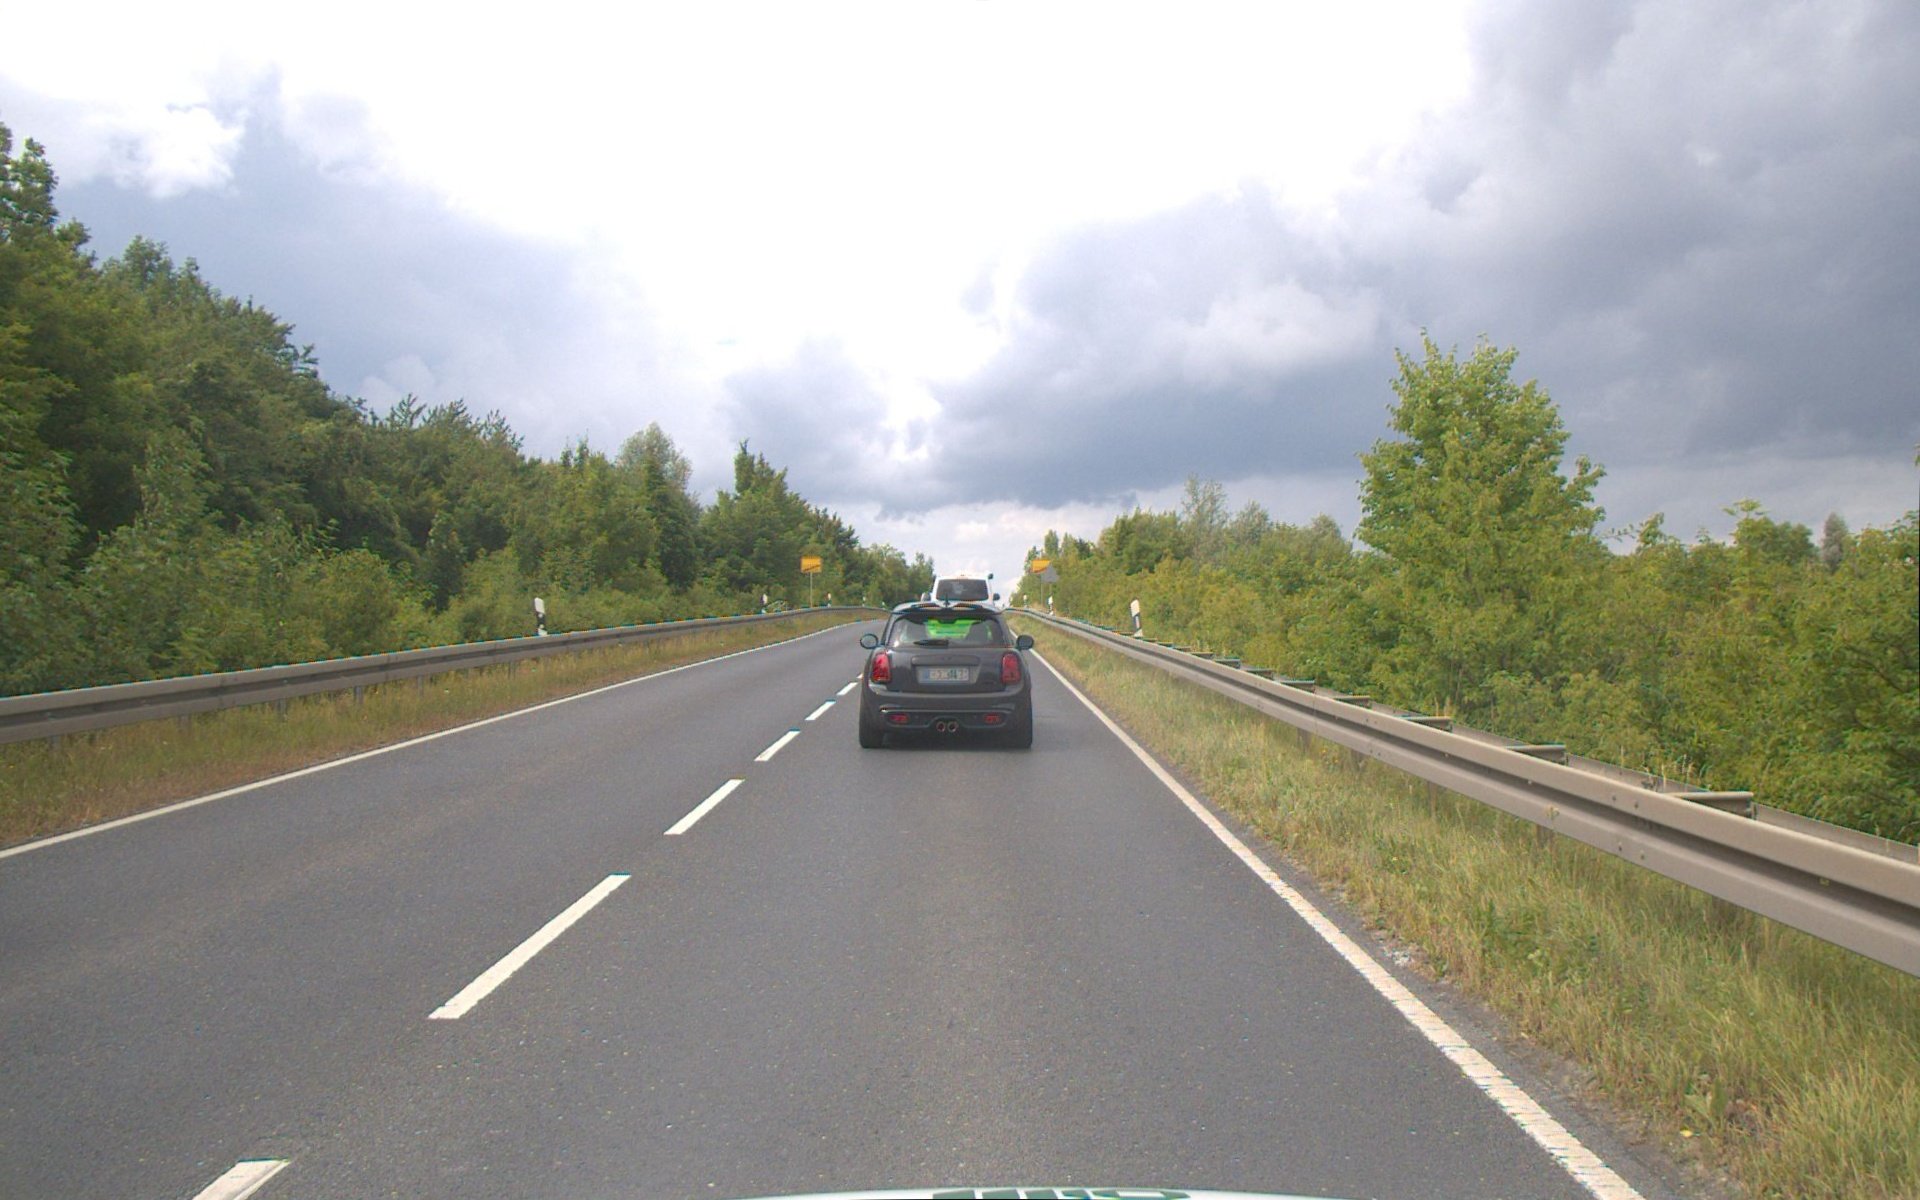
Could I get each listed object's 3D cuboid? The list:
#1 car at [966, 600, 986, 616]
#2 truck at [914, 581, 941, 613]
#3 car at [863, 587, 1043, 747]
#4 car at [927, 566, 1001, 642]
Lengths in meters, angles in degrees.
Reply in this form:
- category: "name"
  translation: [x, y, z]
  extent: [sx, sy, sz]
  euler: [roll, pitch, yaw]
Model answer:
- category: "car"
  translation: [1.484, 0.760, 154.046]
  extent: [1.659, 1.342, 4.001]
  euler: [-2, 0, 2]
- category: "truck"
  translation: [-2.925, -0.301, 150.325]
  extent: [2.022, 2.790, 7.008]
  euler: [1, 1, 1]
- category: "car"
  translation: [-0.149, 0.623, 17.680]
  extent: [1.697, 1.481, 3.998]
  euler: [0, 1, -2]
- category: "car"
  translation: [0.130, 0.090, 46.269]
  extent: [1.980, 2.048, 4.000]
  euler: [0, 0, 0]
